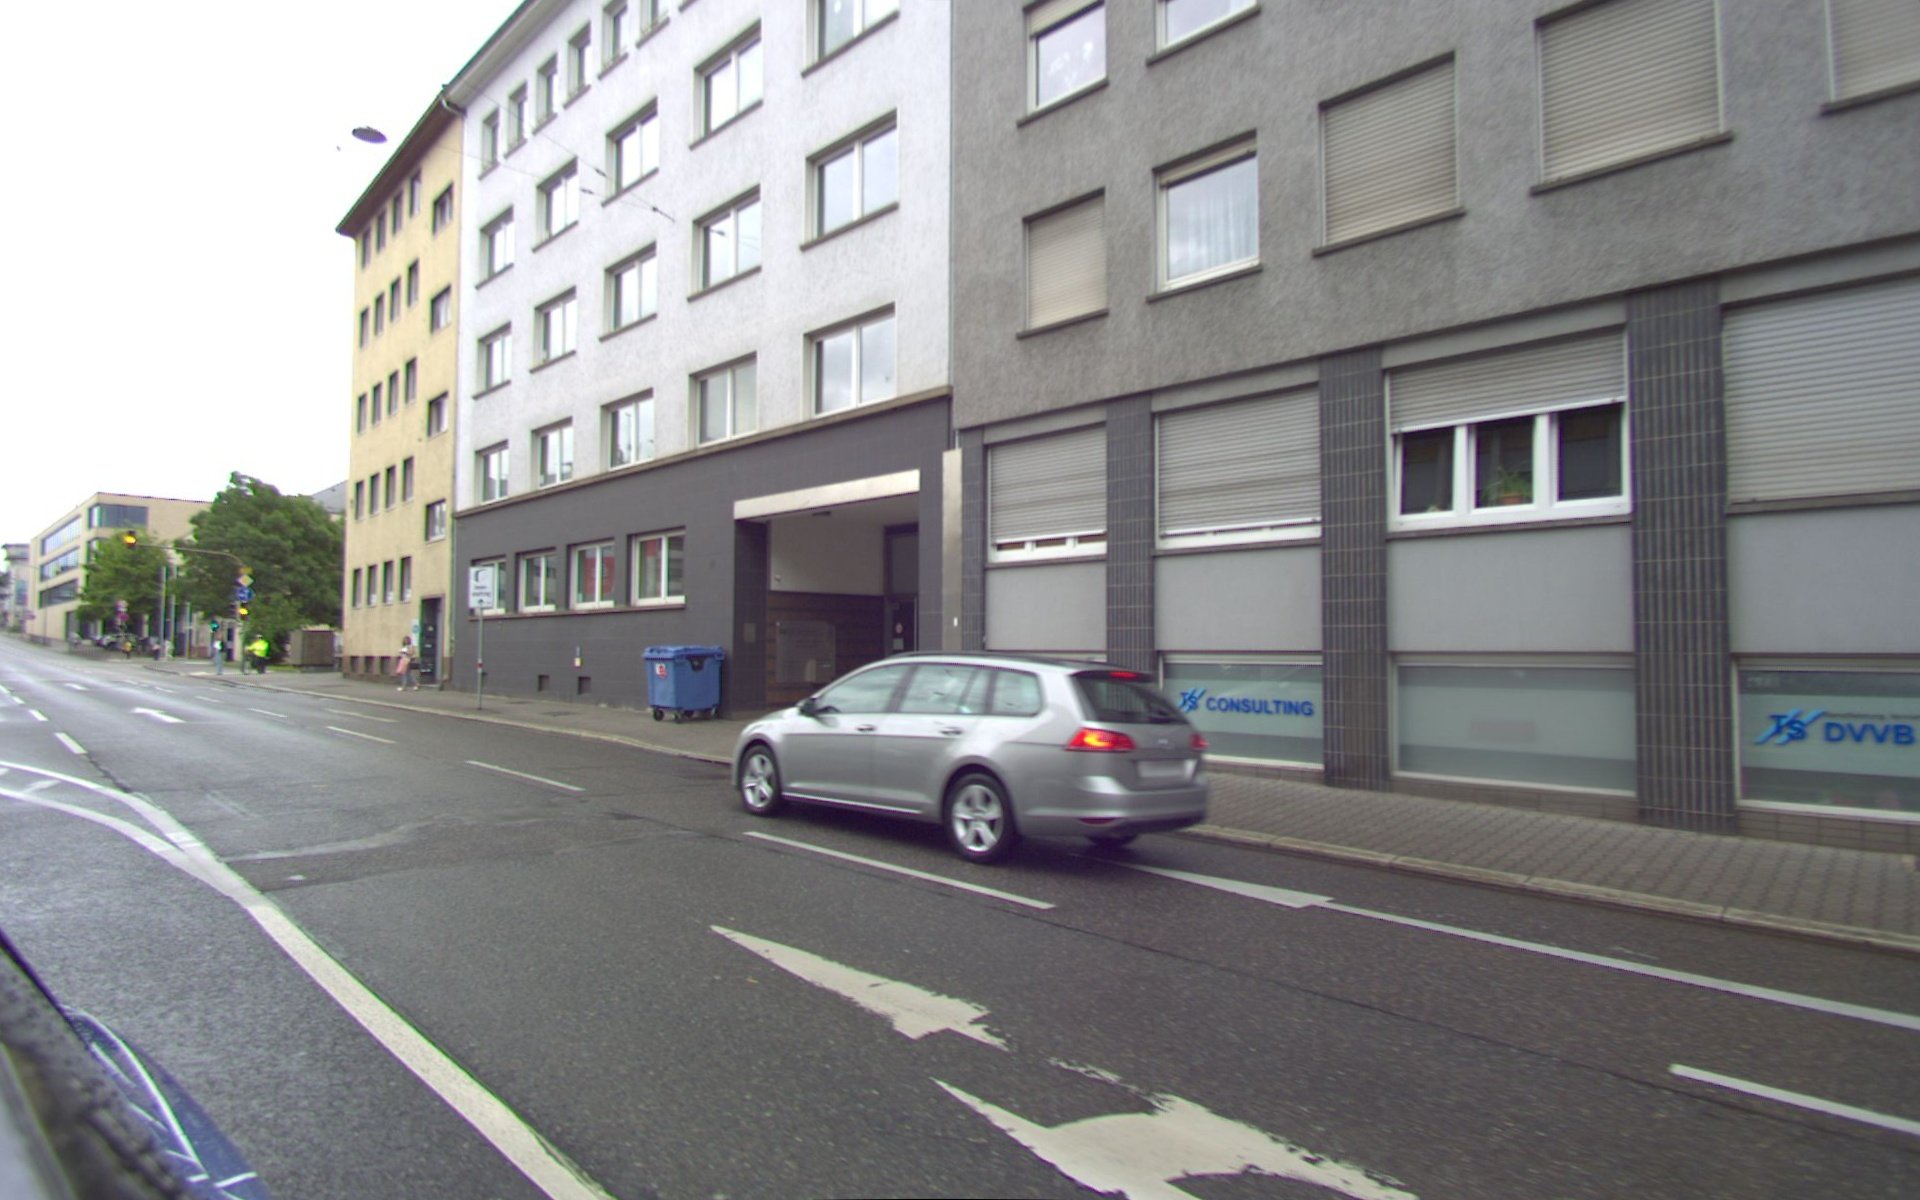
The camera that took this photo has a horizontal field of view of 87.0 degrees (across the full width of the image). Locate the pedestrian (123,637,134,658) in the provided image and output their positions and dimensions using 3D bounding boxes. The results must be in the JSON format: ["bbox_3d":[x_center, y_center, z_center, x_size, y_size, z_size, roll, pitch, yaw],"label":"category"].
[{"bbox_3d":[-62.153,3.532,75.640,0.692,1.528,0.587,-2,-2,43],"label":"pedestrian"}]

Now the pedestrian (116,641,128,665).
[{"bbox_3d":[-61.311,3.866,74.050,0.692,1.785,0.587,-2,-2,43],"label":"pedestrian"}]

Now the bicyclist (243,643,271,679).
[{"bbox_3d":[-29.543,2.548,42.525,0.832,1.453,0.813,1,-2,-44],"label":"bicyclist"}]

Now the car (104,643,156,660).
[{"bbox_3d":[-82.322,5.061,100.409,3.938,1.597,2.002,1,-2,-42],"label":"car"}]

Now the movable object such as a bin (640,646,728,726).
[{"bbox_3d":[-4.950,1.511,18.133,1.191,1.334,1.064,-2,-2,45],"label":"movable object such as a bin"}]

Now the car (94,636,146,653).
[{"bbox_3d":[-84.432,4.455,101.757,3.938,1.597,2.002,1,-2,-42],"label":"car"}]

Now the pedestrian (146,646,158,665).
[{"bbox_3d":[-59.510,4.087,74.514,0.475,1.386,0.614,-2,-2,45],"label":"pedestrian"}]

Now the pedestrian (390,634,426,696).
[{"bbox_3d":[-15.577,1.812,28.553,0.709,1.702,0.812,1,-2,-44],"label":"pedestrian"}]

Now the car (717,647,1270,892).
[{"bbox_3d":[0.063,1.151,8.123,4.295,1.427,1.806,-2,-7,44],"label":"car"}]

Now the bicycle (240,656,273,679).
[{"bbox_3d":[-29.552,2.812,42.490,0.874,0.914,1.868,1,-2,-43],"label":"bicycle"}]

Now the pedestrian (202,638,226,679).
[{"bbox_3d":[-31.468,2.449,42.709,0.709,1.702,0.812,1,-2,-44],"label":"pedestrian"}]
